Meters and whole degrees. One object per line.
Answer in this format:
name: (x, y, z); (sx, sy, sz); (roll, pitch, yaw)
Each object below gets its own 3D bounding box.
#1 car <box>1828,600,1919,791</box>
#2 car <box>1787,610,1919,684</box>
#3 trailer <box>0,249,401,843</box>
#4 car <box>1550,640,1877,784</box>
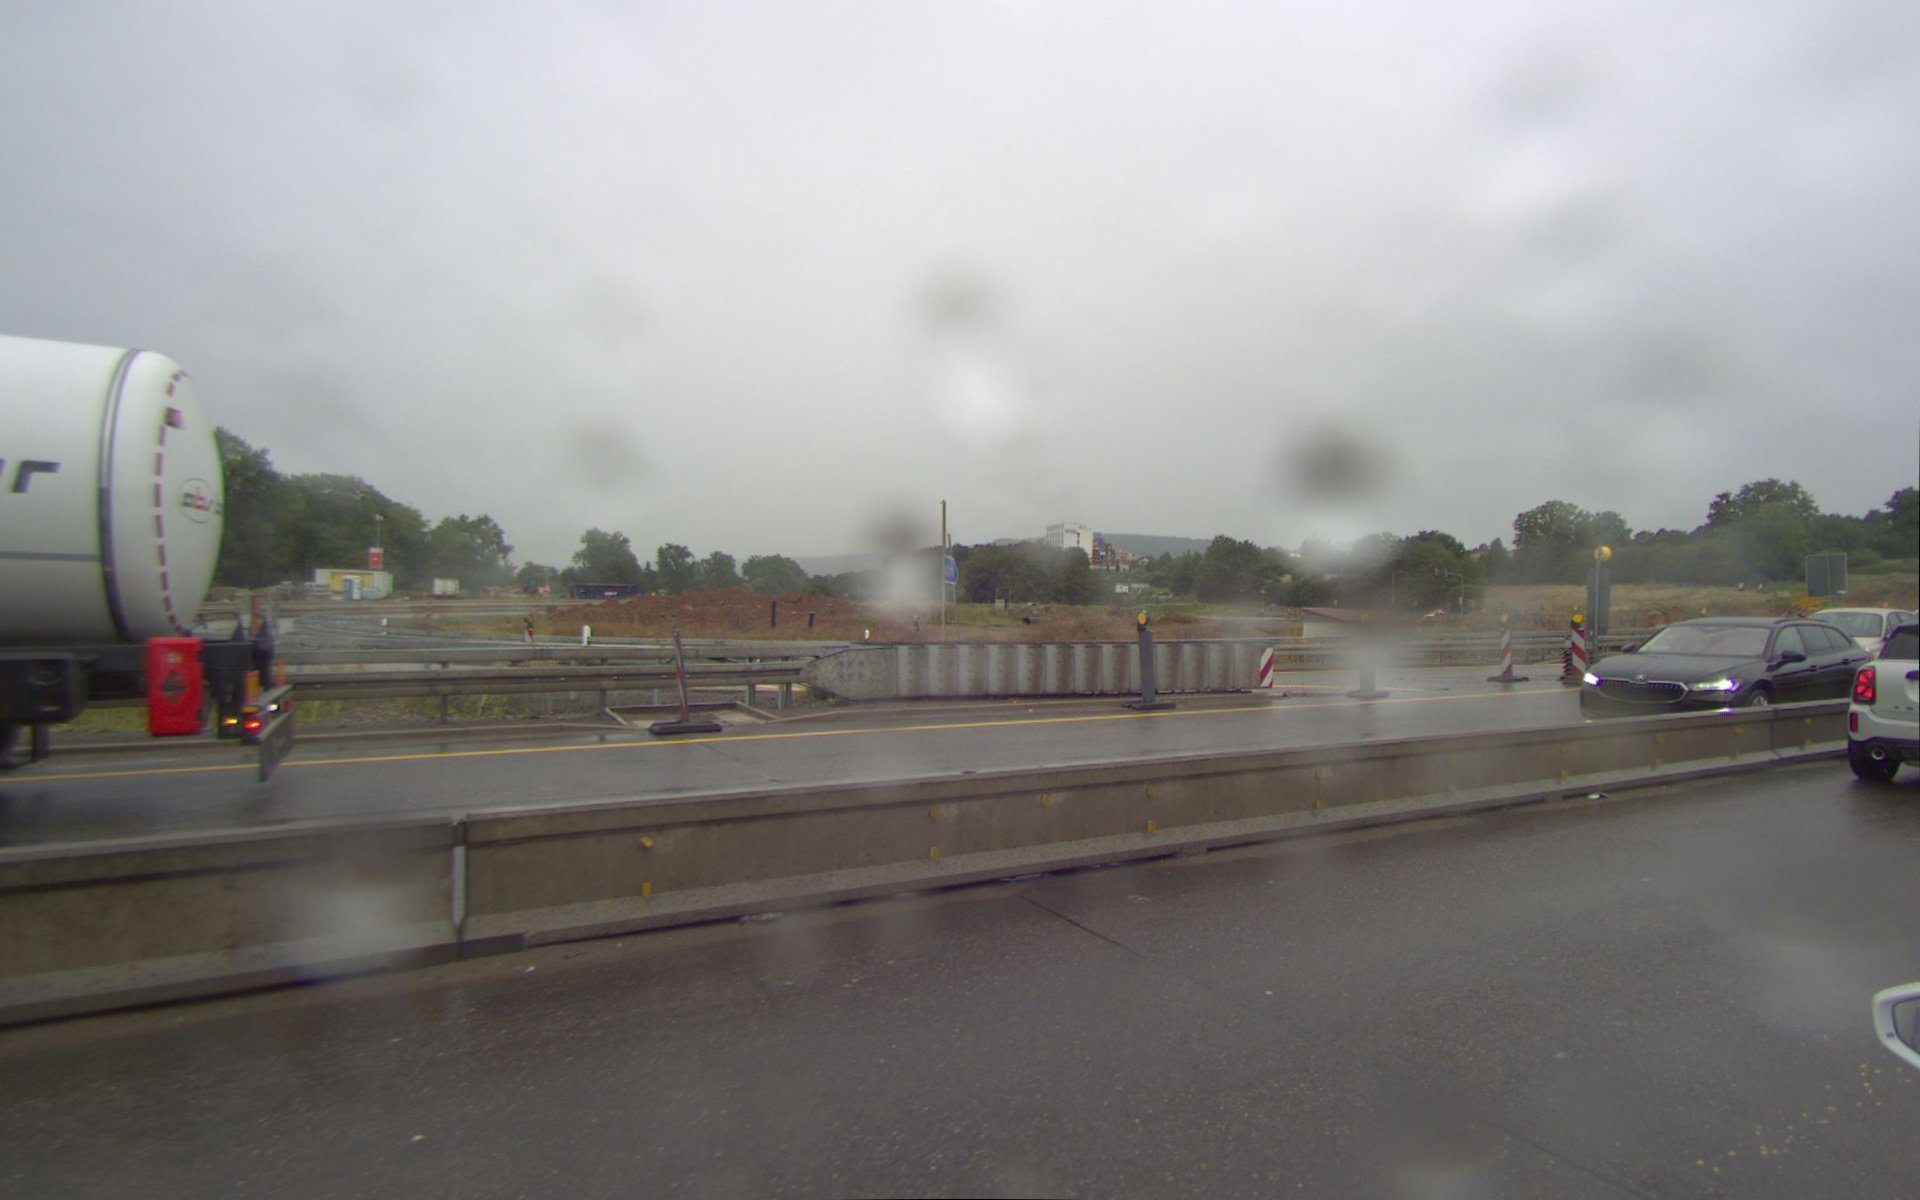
car: (10.144, 0.844, 9.405); (4.258, 1.621, 1.807); (1, -1, -31)
car: (20.877, 1.010, 22.978); (3.952, 1.567, 1.779); (0, 0, -30)
trailer: (-9.901, -0.416, 5.524); (11.863, 3.726, 2.608); (1, -1, -30)
car: (9.878, 1.323, 13.089); (4.623, 1.524, 1.764); (1, -1, -30)
